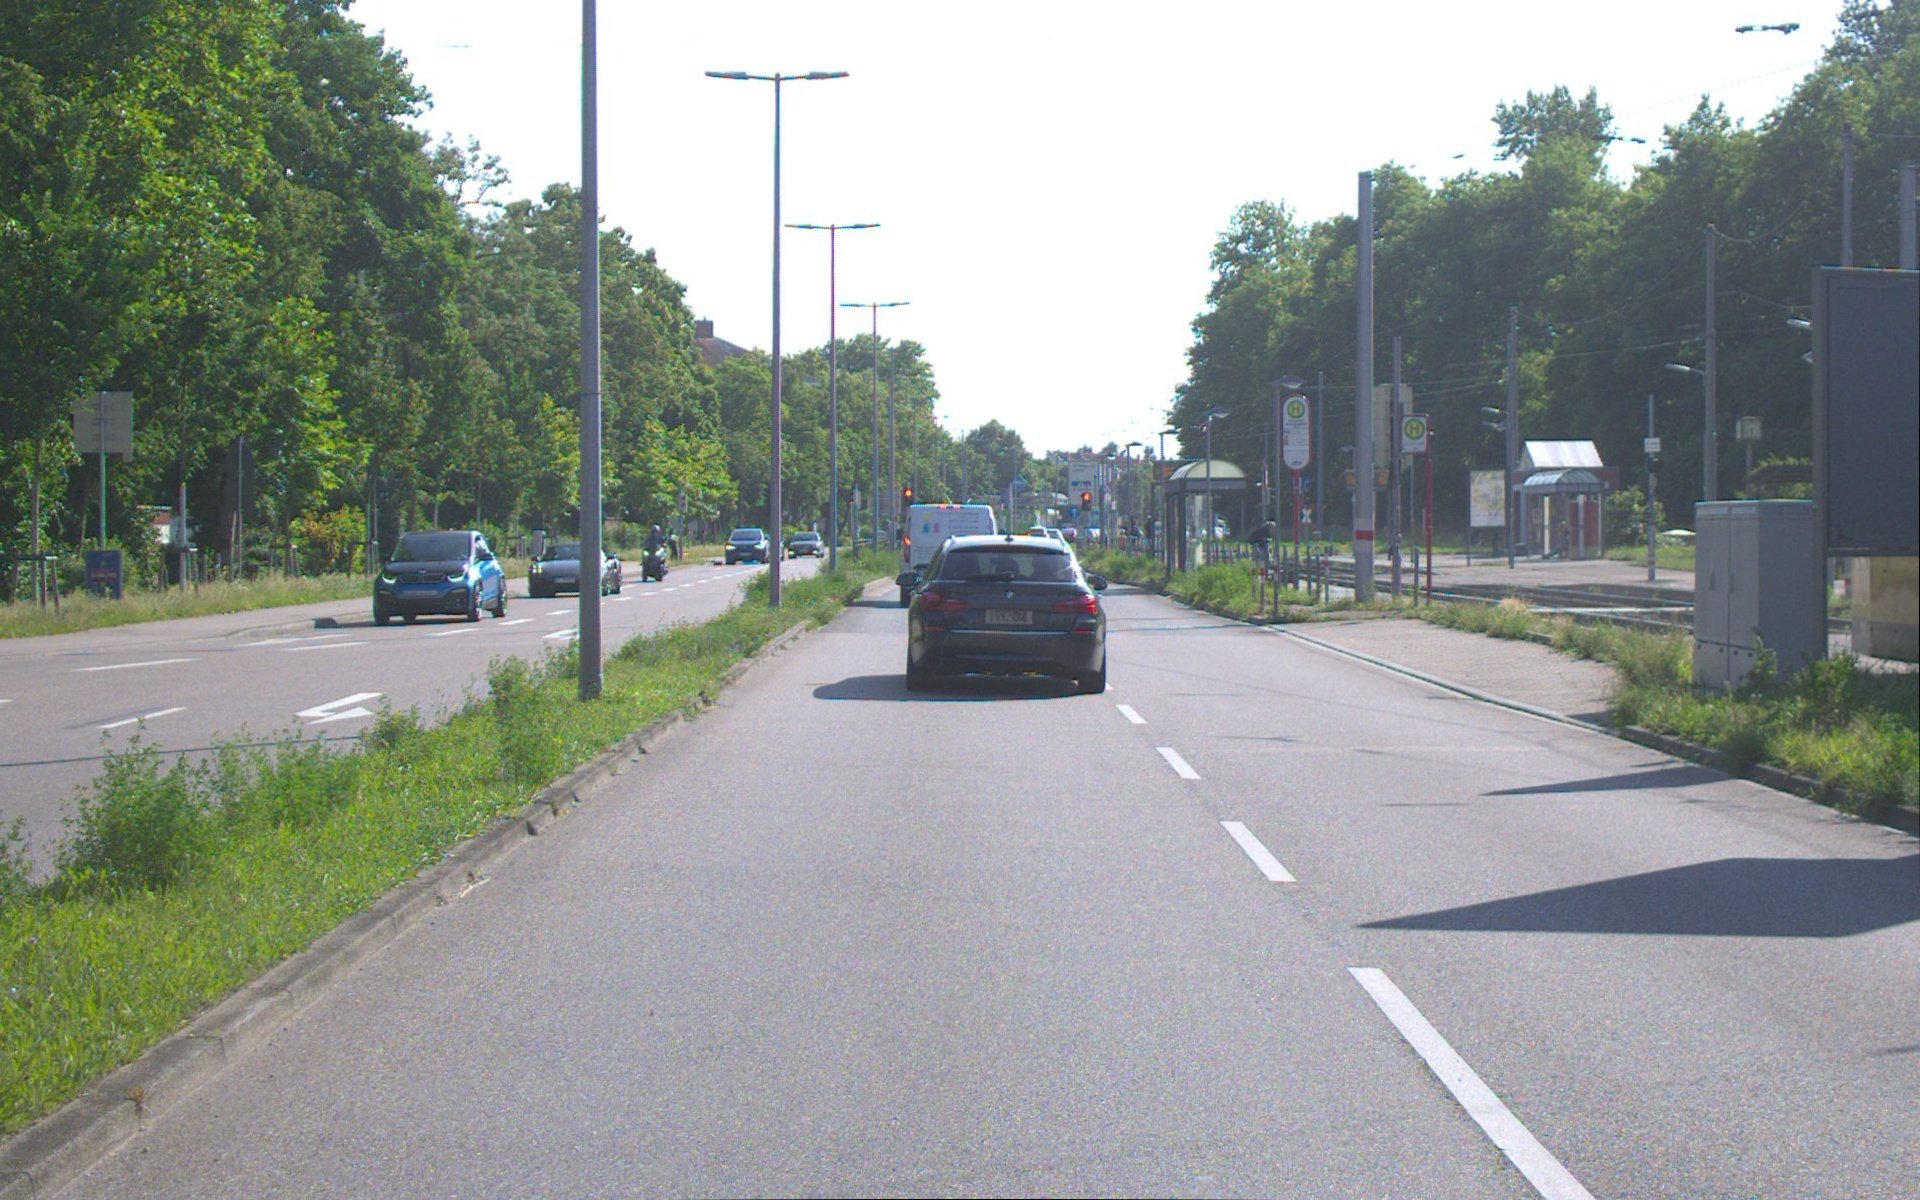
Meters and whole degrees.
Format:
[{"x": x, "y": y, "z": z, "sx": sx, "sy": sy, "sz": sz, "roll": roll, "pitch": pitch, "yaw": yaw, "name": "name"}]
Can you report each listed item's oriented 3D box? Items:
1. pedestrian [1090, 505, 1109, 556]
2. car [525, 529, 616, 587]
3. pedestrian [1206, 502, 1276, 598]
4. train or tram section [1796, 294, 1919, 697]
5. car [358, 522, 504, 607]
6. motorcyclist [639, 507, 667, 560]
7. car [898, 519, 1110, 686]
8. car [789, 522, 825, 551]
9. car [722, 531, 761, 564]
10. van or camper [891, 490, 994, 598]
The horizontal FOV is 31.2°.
[{"x": 5.475, "y": -2.729, "z": 134.872, "sx": 0.698, "sy": 2.007, "sz": 0.702, "roll": 0, "pitch": 1, "yaw": -1, "name": "pedestrian"}, {"x": -9.246, "y": -1.018, "z": 81.880, "sx": 1.788, "sy": 1.323, "sz": 4.737, "roll": 0, "pitch": 1, "yaw": -2, "name": "car"}, {"x": 4.848, "y": -0.869, "z": 59.330, "sx": 1.000, "sy": 1.629, "sz": 0.720, "roll": 1, "pitch": 2, "yaw": 28, "name": "pedestrian"}, {"x": 9.617, "y": -0.841, "z": 26.262, "sx": 2.685, "sy": 3.469, "sz": 14.970, "roll": 1, "pitch": 1, "yaw": 0, "name": "train or tram section"}, {"x": -9.152, "y": -0.637, "z": 59.777, "sx": 1.788, "sy": 1.410, "sz": 4.386, "roll": 0, "pitch": 1, "yaw": 1, "name": "car"}, {"x": -9.124, "y": -1.977, "z": 102.236, "sx": 0.763, "sy": 1.546, "sz": 0.799, "roll": 0, "pitch": 1, "yaw": -1, "name": "motorcyclist"}, {"x": 0.451, "y": -0.021, "z": 33.046, "sx": 1.903, "sy": 1.500, "sz": 4.065, "roll": 0, "pitch": 1, "yaw": 2, "name": "car"}, {"x": -8.443, "y": -3.511, "z": 189.973, "sx": 1.849, "sy": 1.546, "sz": 4.000, "roll": 0, "pitch": 1, "yaw": -1, "name": "car"}, {"x": -9.935, "y": -2.397, "z": 156.591, "sx": 1.533, "sy": 1.481, "sz": 4.000, "roll": 0, "pitch": 1, "yaw": -1, "name": "car"}, {"x": -0.338, "y": -1.142, "z": 68.873, "sx": 1.993, "sy": 2.089, "sz": 4.599, "roll": 0, "pitch": 1, "yaw": 0, "name": "van or camper"}]
